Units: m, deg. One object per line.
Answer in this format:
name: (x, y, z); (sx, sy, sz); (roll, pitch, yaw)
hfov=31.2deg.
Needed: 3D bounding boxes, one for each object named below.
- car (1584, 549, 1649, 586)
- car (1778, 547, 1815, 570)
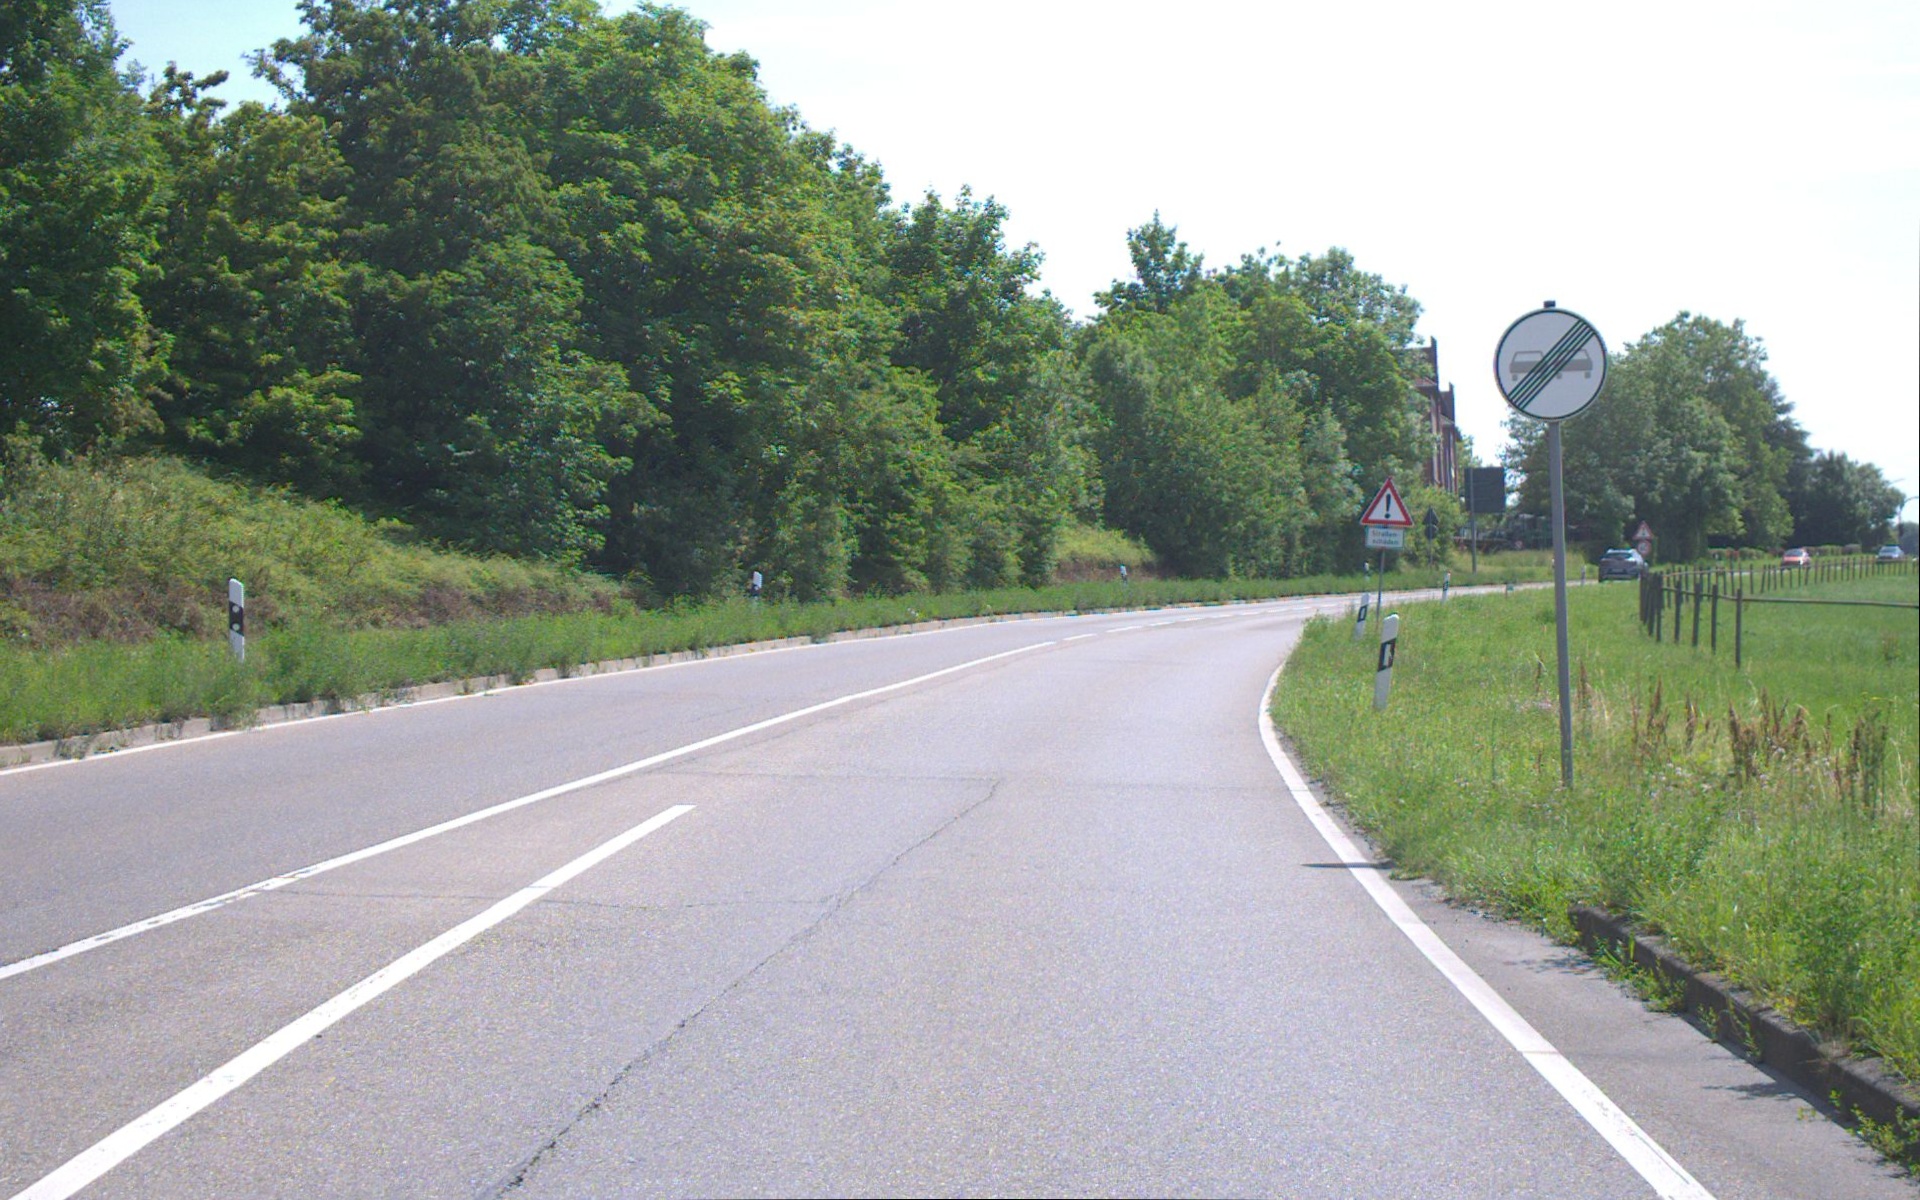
car: (29.260, -1.459, 153.079); (1.996, 1.568, 3.995); (1, 1, 24)
car: (56.204, -2.767, 231.036); (1.823, 1.464, 3.995); (2, 1, 22)
